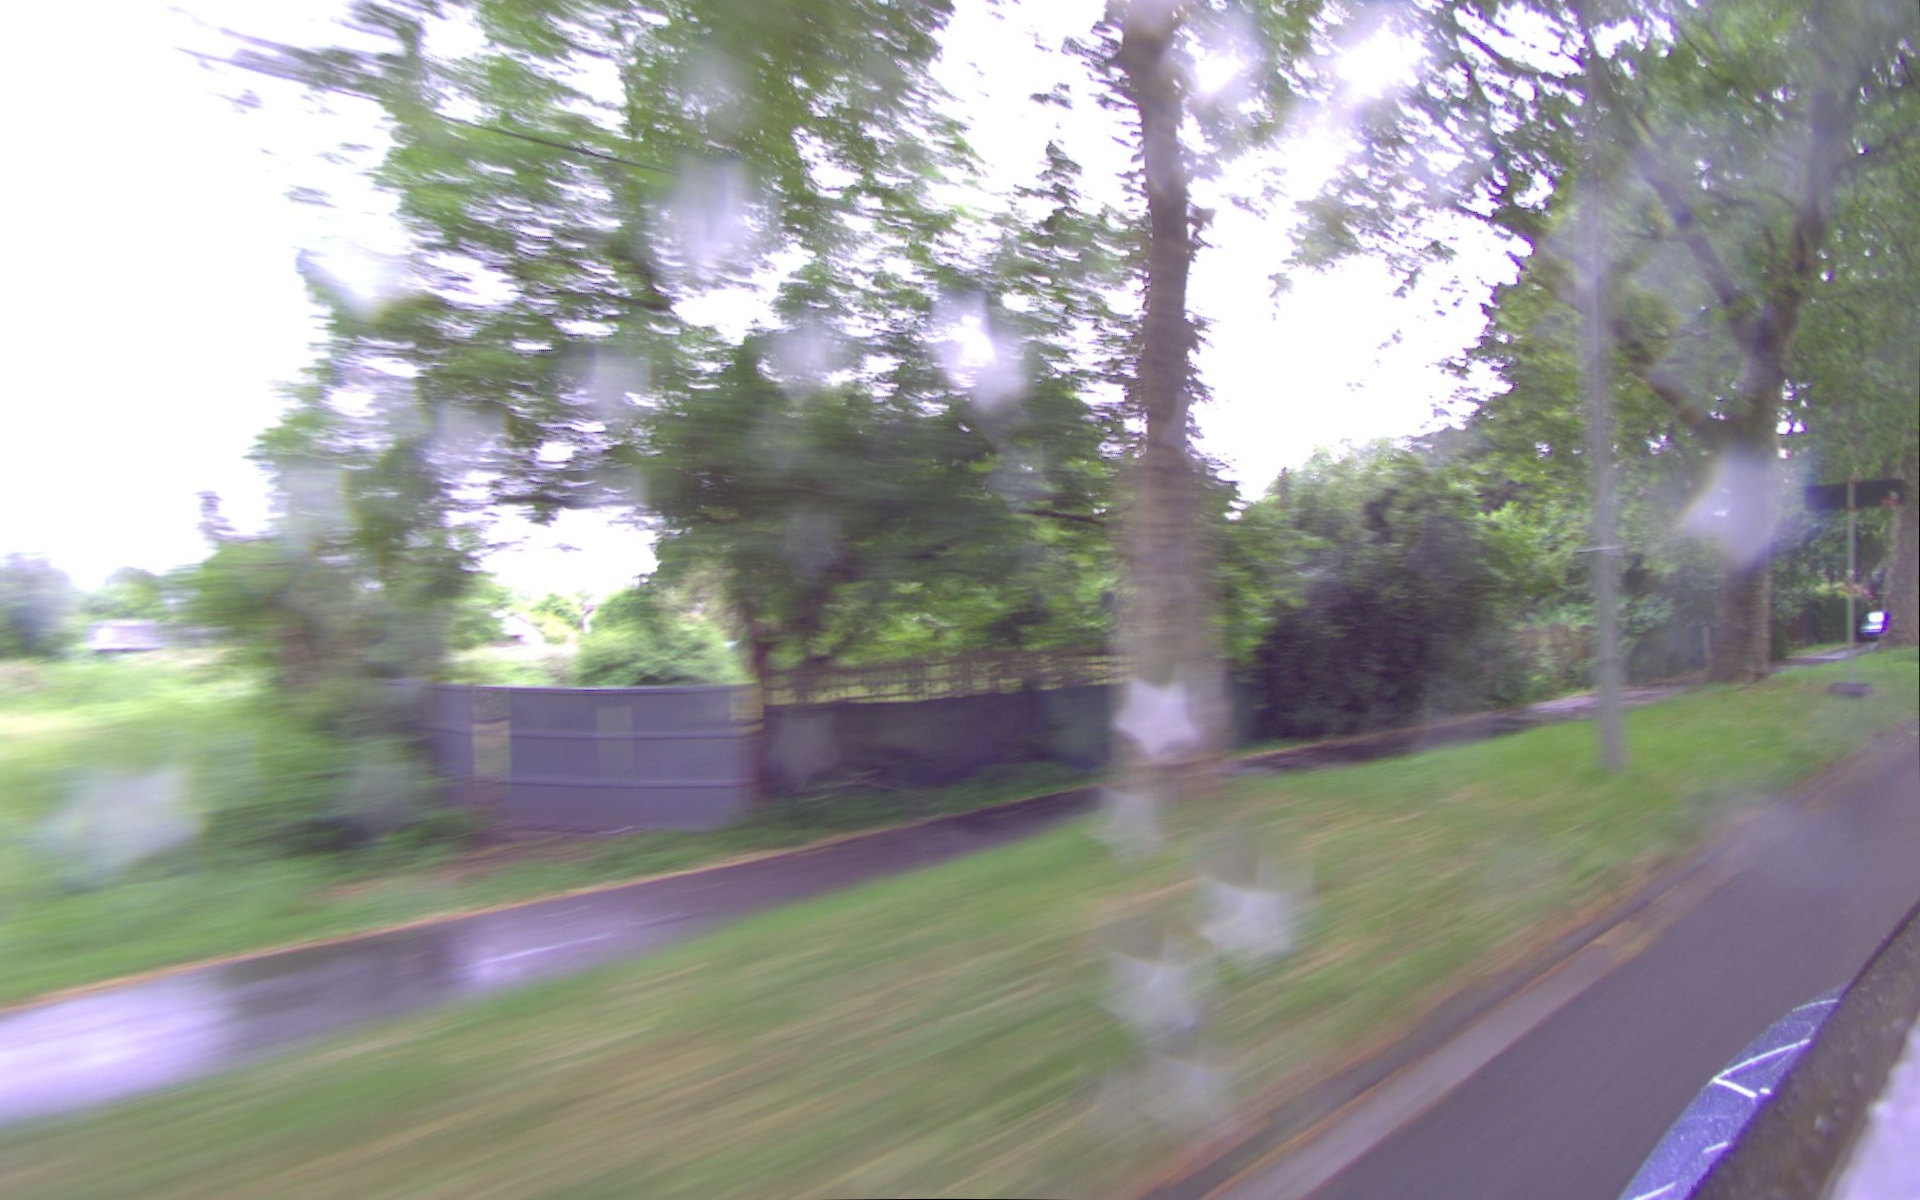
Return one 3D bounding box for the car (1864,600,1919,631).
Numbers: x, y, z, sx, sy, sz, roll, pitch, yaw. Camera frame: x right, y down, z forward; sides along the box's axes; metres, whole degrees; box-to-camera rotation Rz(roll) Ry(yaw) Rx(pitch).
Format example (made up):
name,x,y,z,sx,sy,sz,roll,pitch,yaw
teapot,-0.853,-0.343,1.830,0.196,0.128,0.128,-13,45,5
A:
name,x,y,z,sx,sy,sz,roll,pitch,yaw
car,45.997,0.736,49.696,3.930,1.343,1.798,-1,-4,-41
